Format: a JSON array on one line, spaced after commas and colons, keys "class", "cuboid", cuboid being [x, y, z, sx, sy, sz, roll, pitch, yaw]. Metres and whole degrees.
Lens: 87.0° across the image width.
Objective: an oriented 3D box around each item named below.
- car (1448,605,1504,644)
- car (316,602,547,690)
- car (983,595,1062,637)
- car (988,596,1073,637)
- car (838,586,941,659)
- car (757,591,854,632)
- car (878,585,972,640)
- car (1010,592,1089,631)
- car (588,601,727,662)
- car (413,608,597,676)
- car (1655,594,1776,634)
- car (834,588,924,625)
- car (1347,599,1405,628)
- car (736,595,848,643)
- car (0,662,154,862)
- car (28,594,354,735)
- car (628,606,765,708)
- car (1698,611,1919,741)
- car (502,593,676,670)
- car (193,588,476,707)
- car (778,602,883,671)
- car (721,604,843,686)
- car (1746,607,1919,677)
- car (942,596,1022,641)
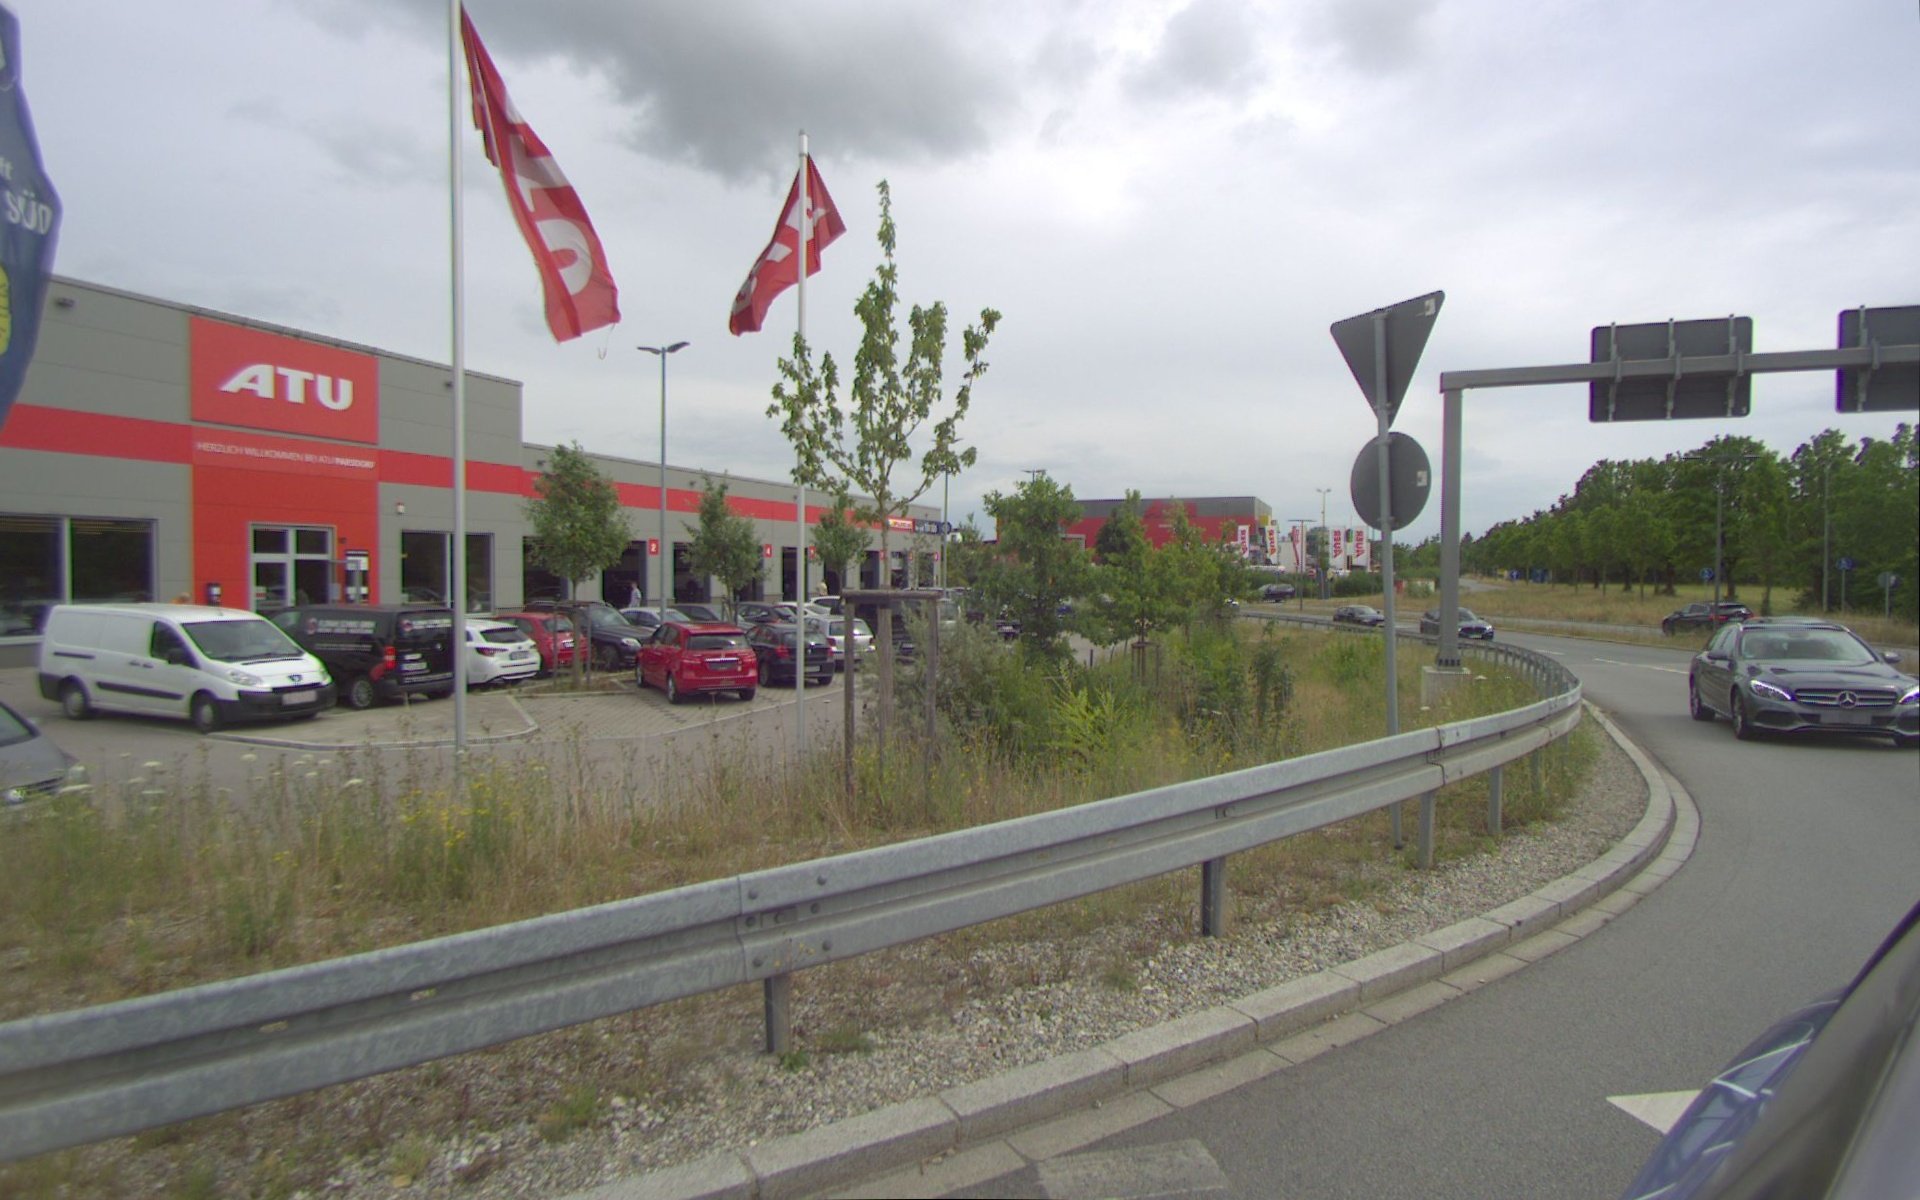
[{"class": "car", "cuboid": [22.430, 1.017, 44.131, 1.840, 1.429, 4.522, -1, 1, 23]}, {"class": "car", "cuboid": [-11.778, 0.955, 22.590, 4.614, 1.661, 1.904, 2, 1, 18]}, {"class": "car", "cuboid": [2.529, 0.674, 42.103, 1.700, 1.643, 4.084, 1, -1, -22]}, {"class": "car", "cuboid": [3.147, 0.719, 46.095, 1.793, 1.642, 4.082, 1, 2, -31]}, {"class": "car", "cuboid": [-2.217, 0.628, 30.688, 1.866, 1.931, 4.086, 1, 2, -22]}, {"class": "car", "cuboid": [-6.378, 0.468, 41.828, 3.650, 1.659, 1.582, -1, 1, 18]}, {"class": "car", "cuboid": [-1.252, 0.372, 34.010, 1.866, 1.733, 4.085, 0, 1, -22]}, {"class": "car", "cuboid": [4.291, 0.530, 48.944, 1.702, 1.642, 4.082, 1, 2, -31]}, {"class": "car", "cuboid": [-8.773, 0.870, 29.391, 3.650, 1.659, 1.582, 0, 1, 18]}, {"class": "car", "cuboid": [-11.156, 1.018, 24.825, 4.146, 1.518, 1.582, -2, 0, 18]}, {"class": "car", "cuboid": [31.688, 0.547, 42.616, 1.857, 1.485, 4.281, -1, 1, 0]}, {"class": "car", "cuboid": [-3.578, 0.286, 44.764, 3.650, 1.564, 1.582, 0, 1, 18]}, {"class": "car", "cuboid": [23.247, 0.744, 56.671, 1.827, 1.429, 3.935, -1, 1, 4]}, {"class": "car", "cuboid": [-6.017, 0.648, 36.336, 3.650, 1.659, 1.582, 0, 1, 18]}, {"class": "car", "cuboid": [-11.098, 1.575, 10.553, 4.771, 1.696, 1.955, 0, 1, 18]}, {"class": "car", "cuboid": [-13.123, 0.980, 17.308, 5.011, 2.073, 1.989, 1, 1, 18]}, {"class": "car", "cuboid": [-5.786, 1.134, 21.916, 1.737, 1.598, 4.083, -2, 5, -32]}, {"class": "car", "cuboid": [11.107, 0.895, 13.278, 1.750, 1.438, 4.049, -1, -2, 29]}, {"class": "car", "cuboid": [-9.678, 0.806, 26.410, 4.146, 1.859, 1.582, -2, 0, 18]}, {"class": "car", "cuboid": [-12.241, 0.830, 19.824, 5.012, 1.997, 1.989, 1, 1, 18]}, {"class": "car", "cuboid": [-3.699, 0.958, 28.278, 1.734, 1.599, 4.085, 1, 2, -25]}, {"class": "car", "cuboid": [-4.444, 1.017, 24.748, 1.735, 1.599, 4.084, 0, 3, -28]}, {"class": "car", "cuboid": [20.495, 0.925, 23.663, 1.738, 1.334, 3.945, -2, 1, 12]}, {"class": "car", "cuboid": [0.796, 0.706, 39.583, 1.616, 1.643, 4.084, 1, -1, -22]}]
